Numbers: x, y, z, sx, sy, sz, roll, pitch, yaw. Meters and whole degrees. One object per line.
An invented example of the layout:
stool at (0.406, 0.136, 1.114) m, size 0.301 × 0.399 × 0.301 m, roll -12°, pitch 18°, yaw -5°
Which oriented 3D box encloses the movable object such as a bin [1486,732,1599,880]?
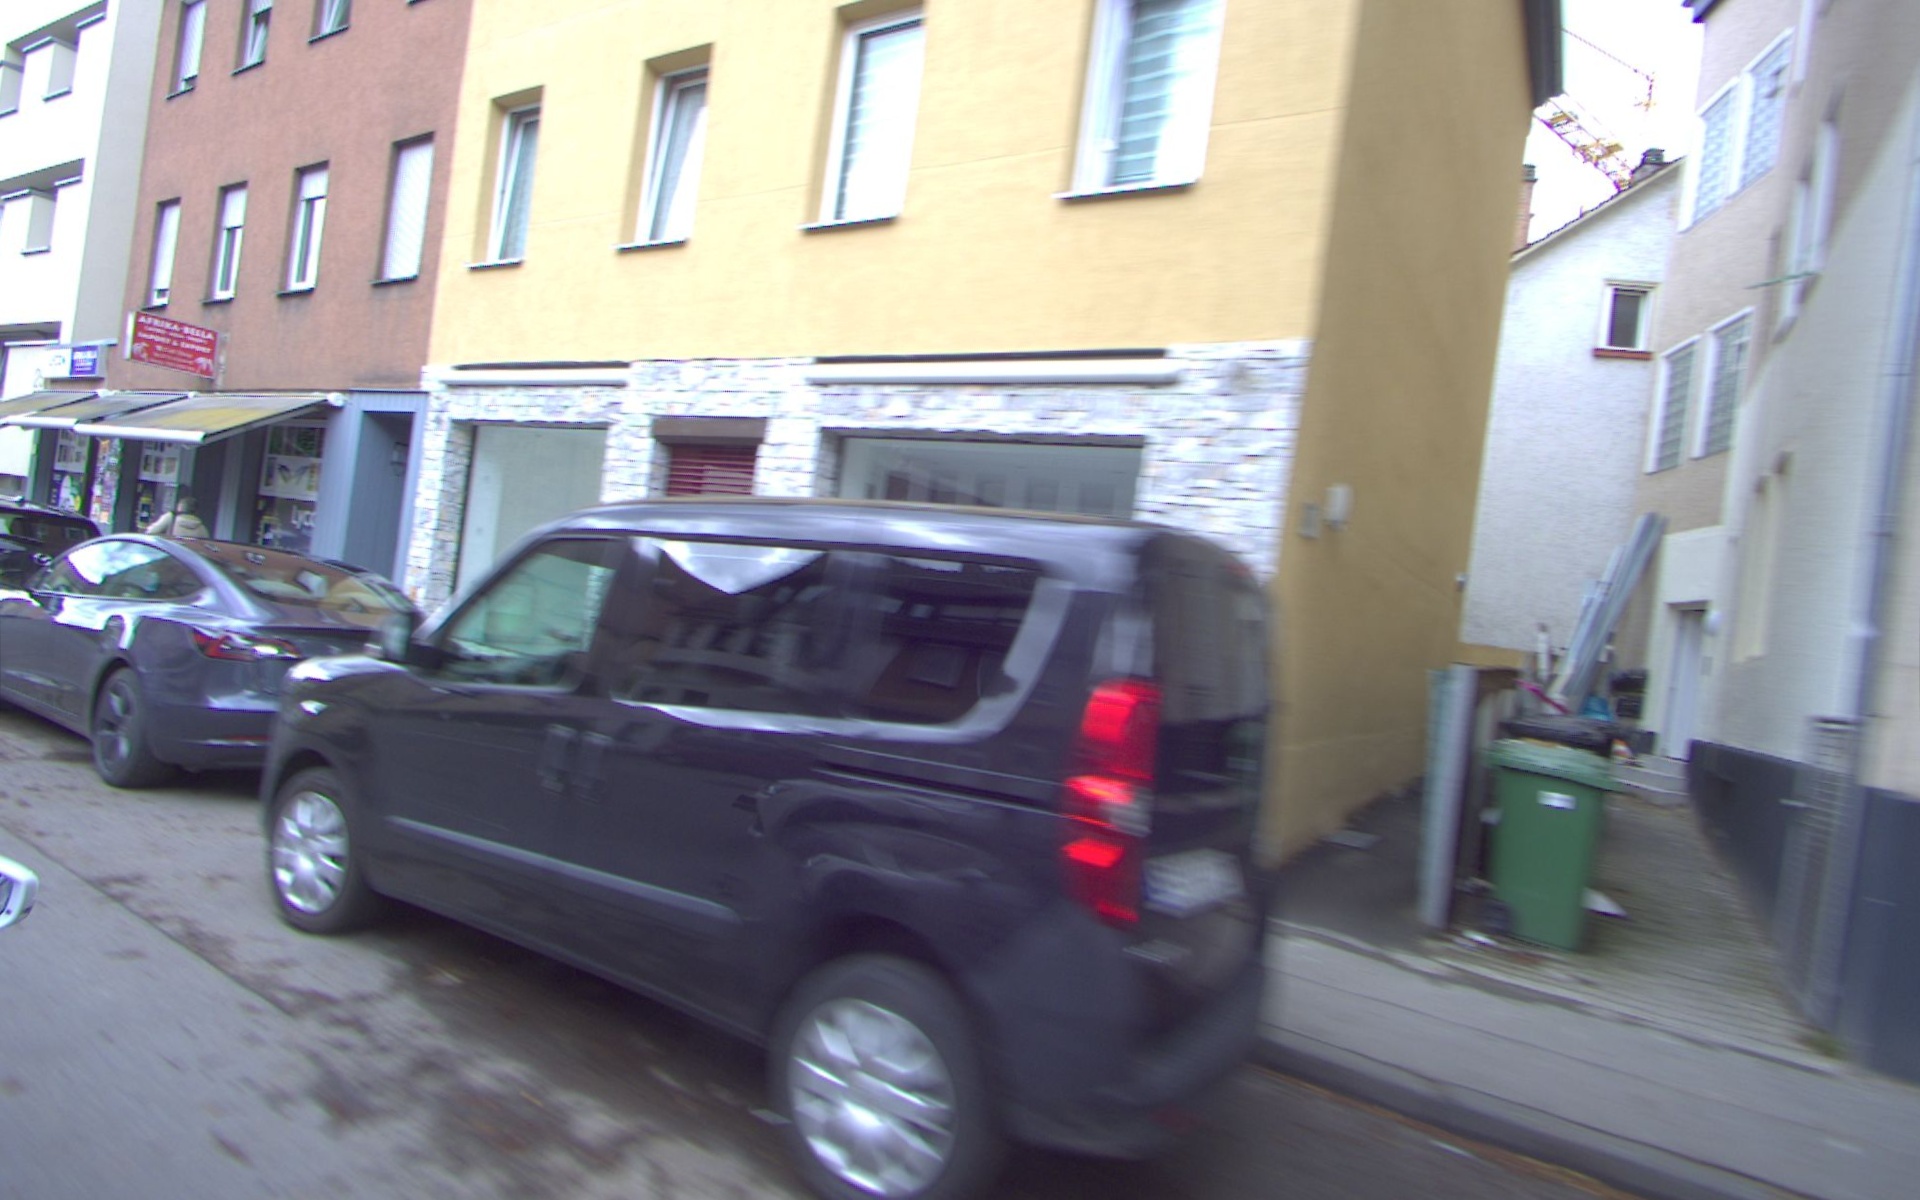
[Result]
movable object such as a bin at (4.599, 1.592, 7.935) m, size 0.653 × 0.980 × 0.596 m, roll 6°, pitch 1°, yaw 33°

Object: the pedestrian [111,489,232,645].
pedestrian at (-9.146, -0.372, 11.673) m, size 0.873 × 1.670 × 0.702 m, roll 8°, pitch 1°, yaw 31°

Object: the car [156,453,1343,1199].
car at (-0.997, 0.574, 3.996) m, size 4.328 × 1.802 × 1.824 m, roll 7°, pitch -1°, yaw 30°

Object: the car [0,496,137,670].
car at (-10.287, -0.351, 10.172) m, size 4.138 × 1.537 × 1.604 m, roll 7°, pitch 0°, yaw 30°

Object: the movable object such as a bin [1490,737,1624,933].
movable object such as a bin at (3.890, 1.488, 6.549) m, size 0.653 × 1.071 × 0.659 m, roll 4°, pitch 0°, yaw 33°

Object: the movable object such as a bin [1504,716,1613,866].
movable object such as a bin at (5.025, 1.567, 8.438) m, size 0.653 × 1.074 × 0.676 m, roll 7°, pitch 1°, yaw 33°

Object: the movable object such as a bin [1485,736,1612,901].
movable object such as a bin at (4.245, 1.539, 7.251) m, size 0.653 × 0.980 × 0.596 m, roll 8°, pitch 2°, yaw 33°

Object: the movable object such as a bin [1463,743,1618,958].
movable object such as a bin at (3.467, 1.444, 5.999) m, size 0.653 × 1.070 × 0.660 m, roll 7°, pitch -2°, yaw 33°

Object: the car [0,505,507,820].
car at (-5.328, 0.238, 6.945) m, size 4.436 × 1.423 × 1.753 m, roll 7°, pitch 0°, yaw 32°
